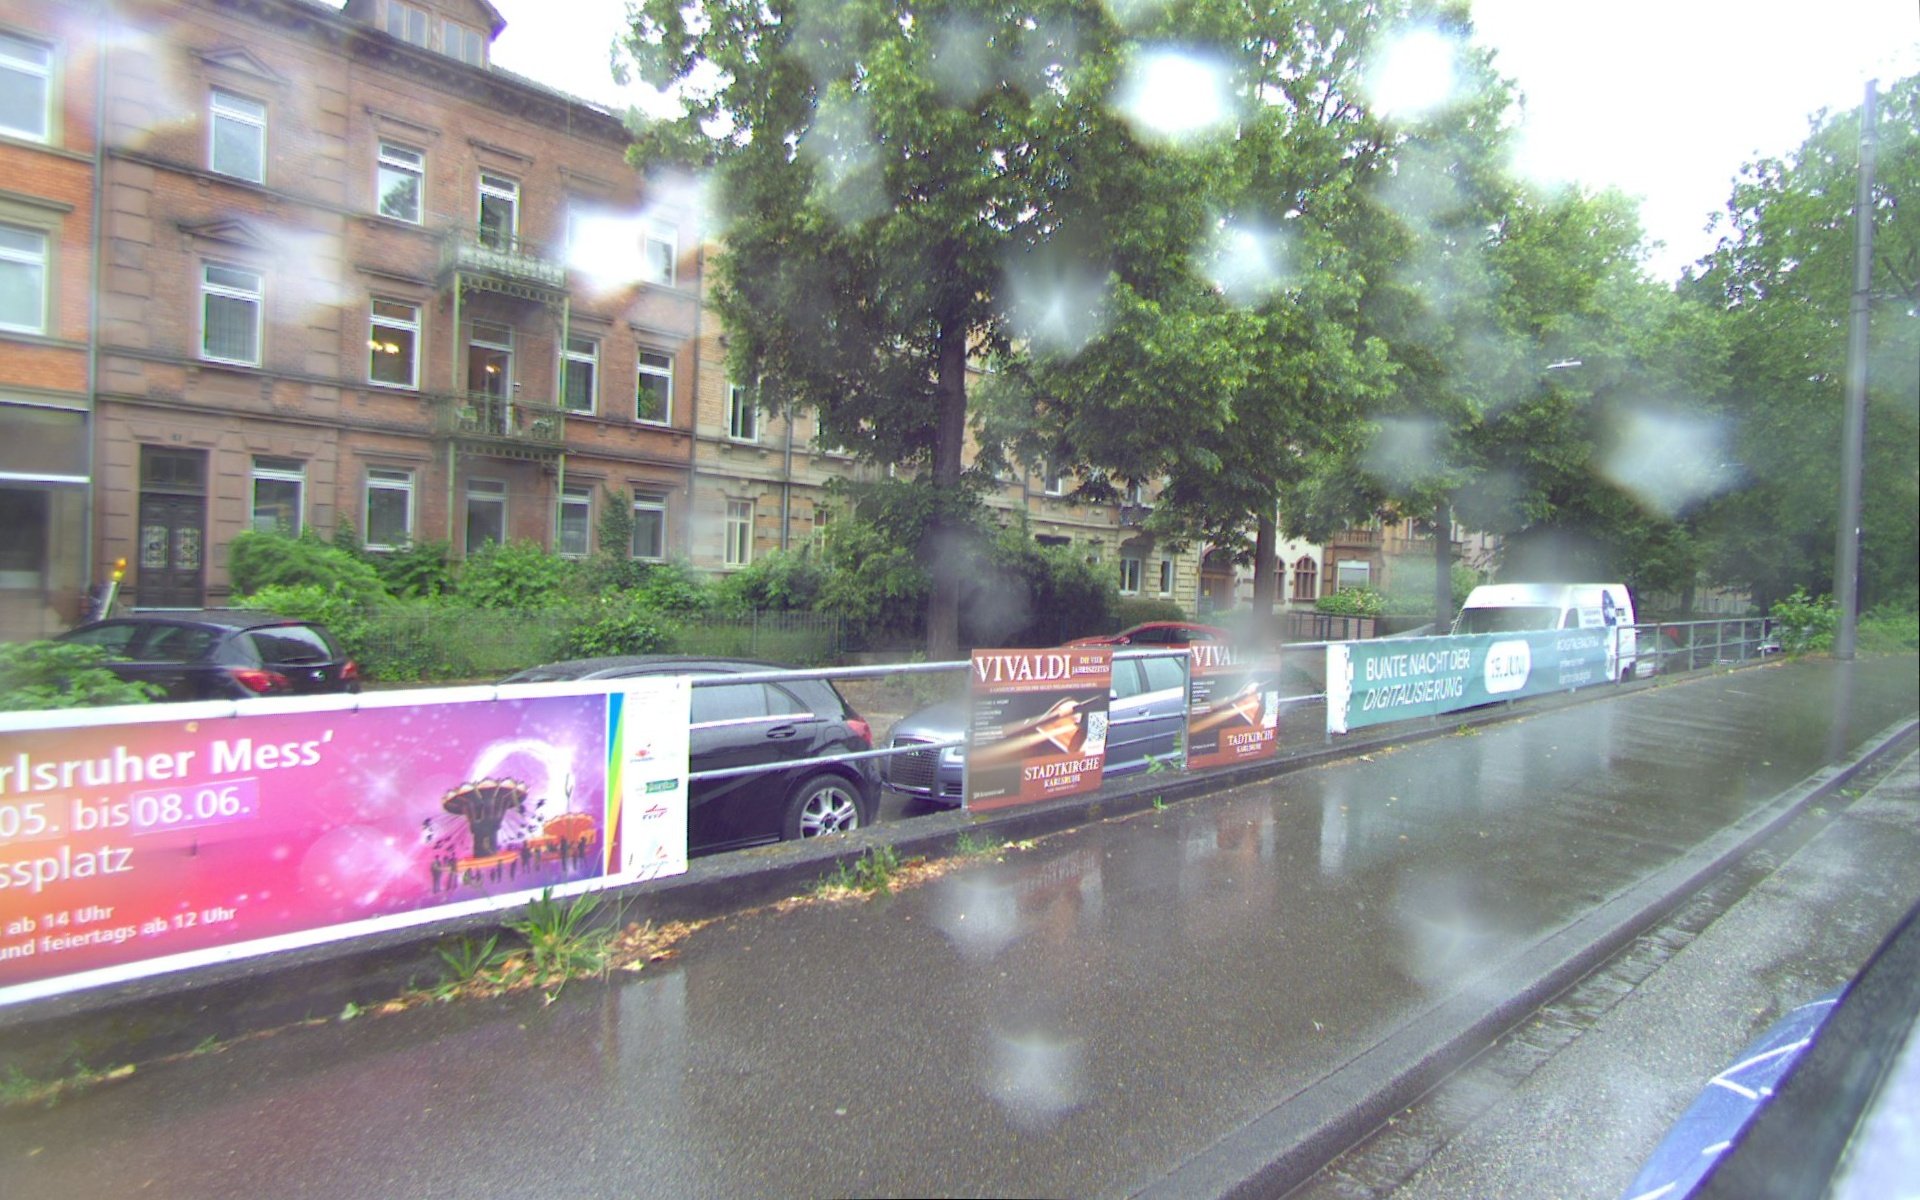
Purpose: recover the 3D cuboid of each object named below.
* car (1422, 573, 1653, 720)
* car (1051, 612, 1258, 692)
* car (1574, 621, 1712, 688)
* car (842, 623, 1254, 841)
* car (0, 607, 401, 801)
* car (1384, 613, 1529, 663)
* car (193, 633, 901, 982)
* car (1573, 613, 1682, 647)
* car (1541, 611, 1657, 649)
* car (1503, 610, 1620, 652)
[{"bbox_3d":[11.364,0.759,19.669,6.055,2.451,2.211,0,0,-43],"label":"car"},{"bbox_3d":[4.390,1.100,22.733,4.372,1.471,1.888,2,1,18],"label":"car"},{"bbox_3d":[16.626,1.244,24.551,4.312,1.370,1.968,0,0,-44],"label":"car"},{"bbox_3d":[0.995,1.060,9.779,4.006,1.559,1.734,0,0,-43],"label":"car"},{"bbox_3d":[-8.434,0.983,11.247,3.958,1.735,1.983,1,1,25],"label":"car"},{"bbox_3d":[16.511,1.238,33.894,4.214,1.397,1.679,2,2,22],"label":"car"},{"bbox_3d":[-2.444,1.003,6.525,3.903,1.417,1.706,0,1,-41],"label":"car"},{"bbox_3d":[32.071,1.428,48.733,3.942,1.482,1.904,0,1,15],"label":"car"},{"bbox_3d":[28.503,1.311,45.280,3.942,1.585,1.991,0,1,15],"label":"car"},{"bbox_3d":[25.591,1.290,43.175,3.947,1.629,1.815,1,1,19],"label":"car"}]
